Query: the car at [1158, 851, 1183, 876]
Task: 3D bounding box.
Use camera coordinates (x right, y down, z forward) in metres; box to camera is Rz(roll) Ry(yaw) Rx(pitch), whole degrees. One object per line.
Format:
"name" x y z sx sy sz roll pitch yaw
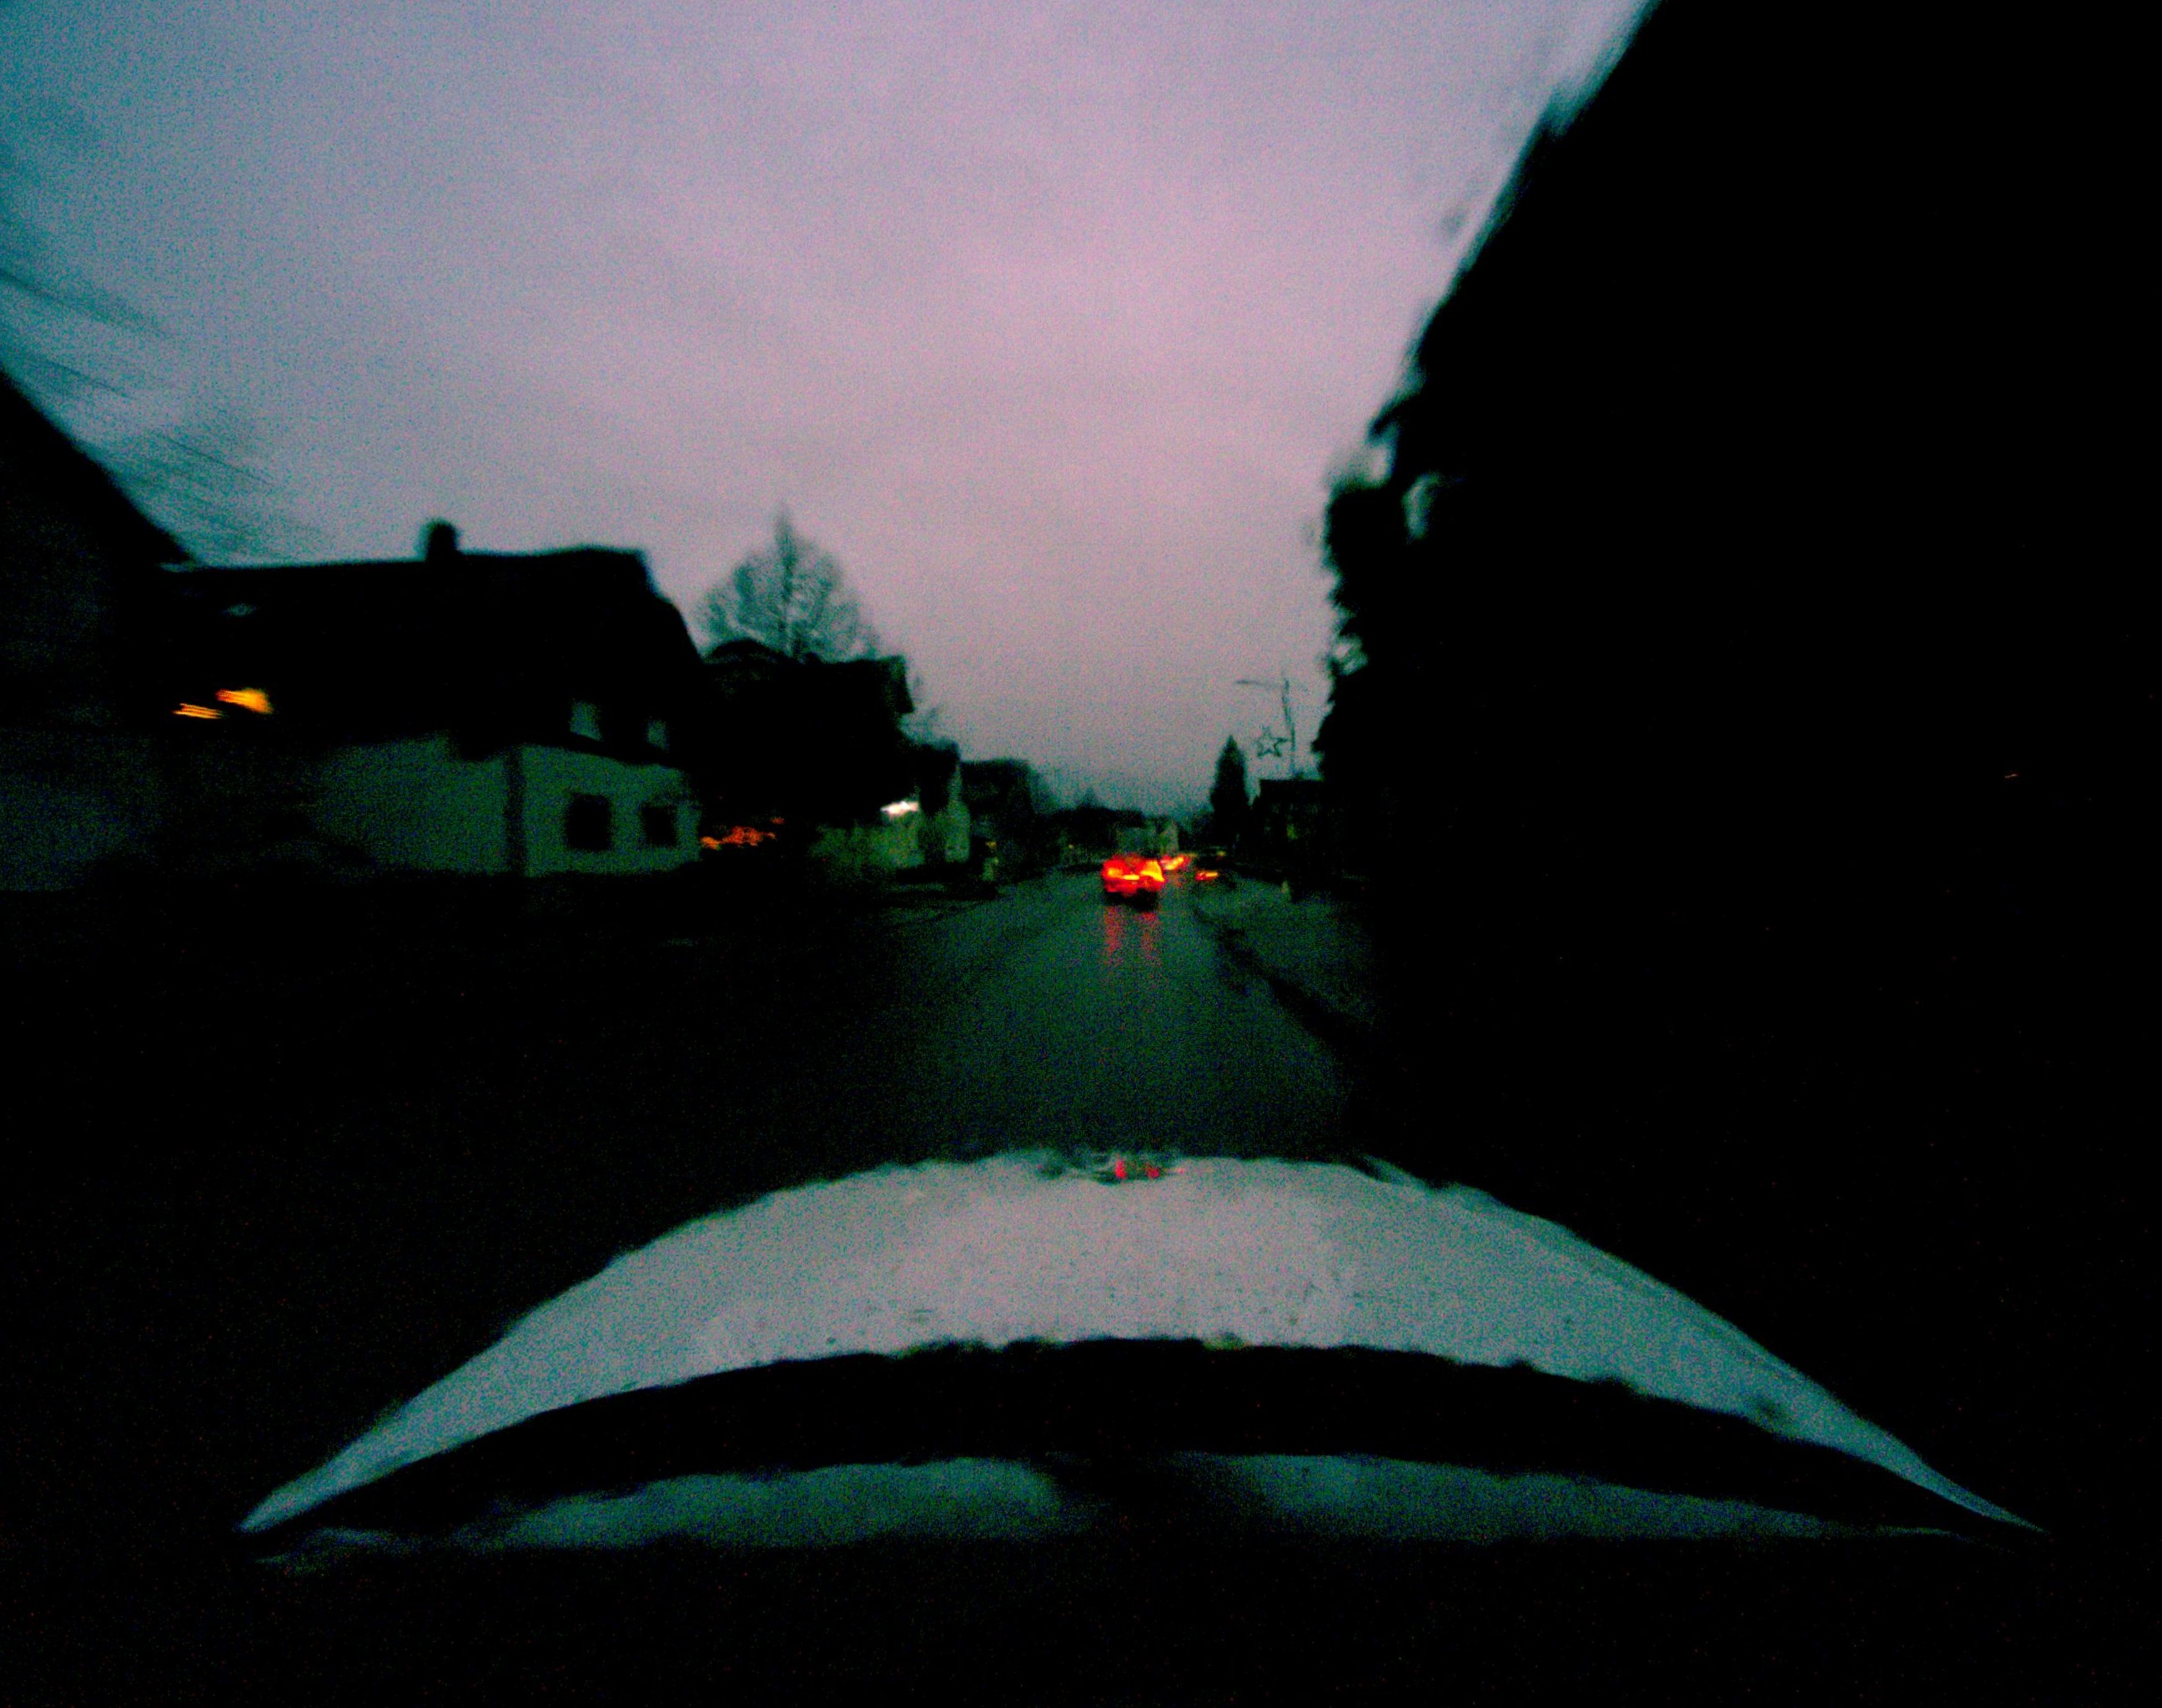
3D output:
"car" 7.397 0.775 67.347 1.984 2.014 4.006 0 -1 5

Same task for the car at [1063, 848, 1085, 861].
"car" -1.047 0.061 131.879 1.975 2.013 4.023 1 1 25

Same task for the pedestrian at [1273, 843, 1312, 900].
"pedestrian" 6.801 0.554 26.211 0.982 1.742 1.058 -3 -1 7

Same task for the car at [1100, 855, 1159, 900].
"car" 1.764 0.799 29.631 1.985 1.525 4.004 -1 0 3

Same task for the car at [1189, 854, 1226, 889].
"car" 5.988 0.808 38.793 1.640 1.540 3.397 -1 0 8

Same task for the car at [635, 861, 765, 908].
"car" -11.715 0.896 25.371 1.772 1.366 4.009 0 -1 8
